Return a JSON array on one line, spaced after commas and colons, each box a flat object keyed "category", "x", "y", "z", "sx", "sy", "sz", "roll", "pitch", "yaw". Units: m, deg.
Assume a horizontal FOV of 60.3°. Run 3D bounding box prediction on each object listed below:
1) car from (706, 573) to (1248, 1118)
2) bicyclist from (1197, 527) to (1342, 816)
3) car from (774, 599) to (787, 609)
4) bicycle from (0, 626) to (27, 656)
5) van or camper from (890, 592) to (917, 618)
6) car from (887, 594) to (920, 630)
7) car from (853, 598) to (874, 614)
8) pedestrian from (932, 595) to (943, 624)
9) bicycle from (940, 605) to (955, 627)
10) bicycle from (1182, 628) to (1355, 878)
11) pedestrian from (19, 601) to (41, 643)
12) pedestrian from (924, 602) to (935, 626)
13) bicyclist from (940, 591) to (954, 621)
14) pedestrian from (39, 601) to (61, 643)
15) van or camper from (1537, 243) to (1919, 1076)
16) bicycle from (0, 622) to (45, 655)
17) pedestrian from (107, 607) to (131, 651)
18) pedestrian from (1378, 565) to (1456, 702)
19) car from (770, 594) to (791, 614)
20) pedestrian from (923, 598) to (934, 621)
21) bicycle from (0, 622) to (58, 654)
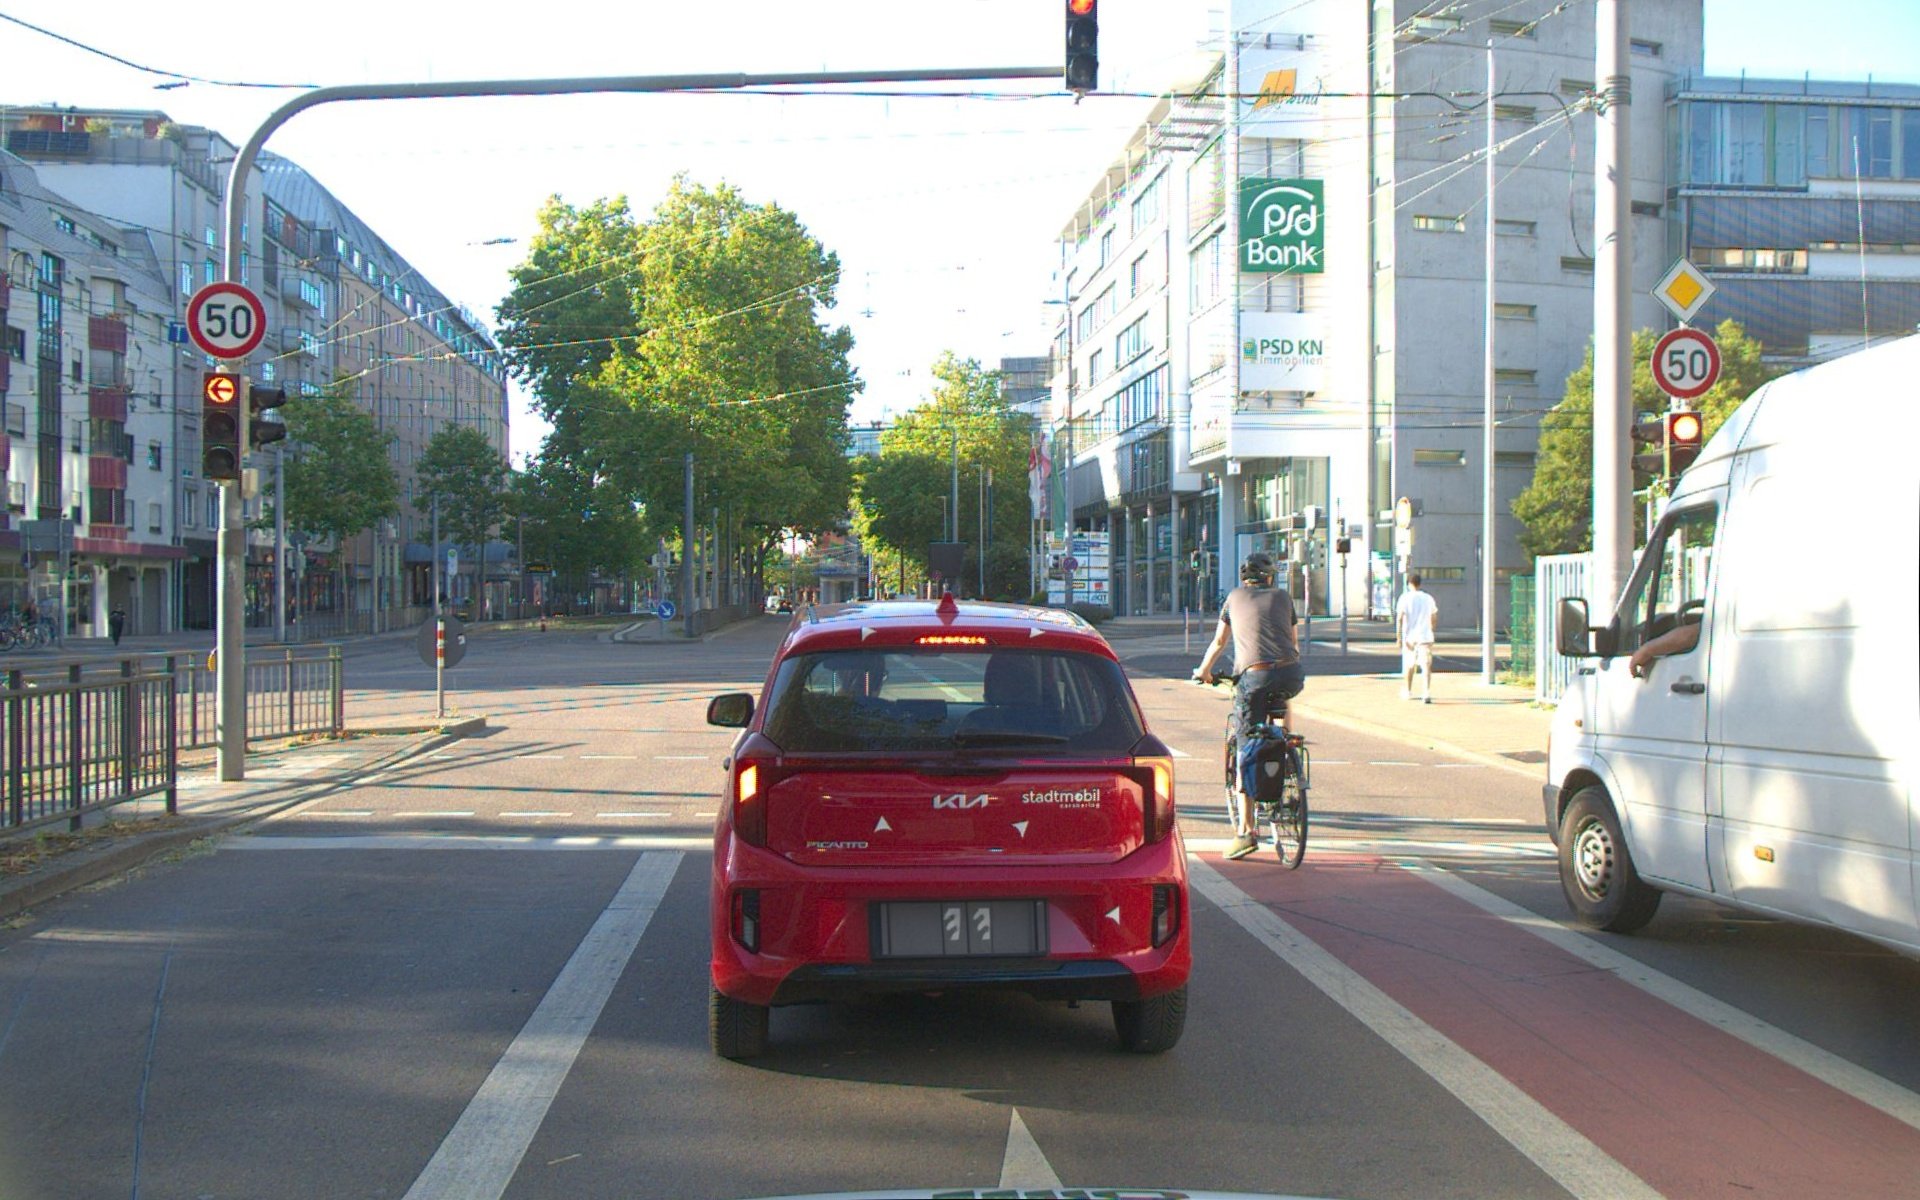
[{"category": "car", "x": -0.092, "y": 0.704, "z": 6.521, "sx": 1.582, "sy": 1.561, "sz": 3.408, "roll": 0, "pitch": 0, "yaw": -5}, {"category": "bicyclist", "x": 1.831, "y": 0.404, "z": 9.910, "sx": 0.637, "sy": 1.631, "sz": 1.088, "roll": 0, "pitch": 0, "yaw": -1}, {"category": "car", "x": -27.784, "y": 0.655, "z": 255.400, "sx": 1.745, "sy": 1.561, "sz": 3.403, "roll": 0, "pitch": 0, "yaw": -10}, {"category": "bicycle", "x": -29.449, "y": 1.250, "z": 50.281, "sx": 1.806, "sy": 0.869, "sz": 0.553, "roll": 0, "pitch": 0, "yaw": -4}, {"category": "van or camper", "x": -4.542, "y": 0.430, "z": 132.218, "sx": 1.954, "sy": 2.024, "sz": 4.740, "roll": 0, "pitch": 0, "yaw": -4}, {"category": "car", "x": -2.971, "y": 0.631, "z": 86.439, "sx": 1.603, "sy": 1.831, "sz": 3.327, "roll": -1, "pitch": 0, "yaw": -3}, {"category": "car", "x": -9.791, "y": 0.631, "z": 167.949, "sx": 1.745, "sy": 1.561, "sz": 3.504, "roll": 0, "pitch": 0, "yaw": -10}, {"category": "pedestrian", "x": -1.325, "y": 0.544, "z": 97.428, "sx": 0.633, "sy": 1.710, "sz": 0.651, "roll": 0, "pitch": 0, "yaw": 0}, {"category": "bicycle", "x": -0.711, "y": 0.883, "z": 93.000, "sx": 0.682, "sy": 1.117, "sz": 1.750, "roll": -4, "pitch": 1, "yaw": -2}, {"category": "bicycle", "x": 1.802, "y": 0.845, "z": 9.932, "sx": 0.637, "sy": 1.303, "sz": 1.965, "roll": 0, "pitch": 0, "yaw": -1}, {"category": "pedestrian", "x": -33.915, "y": 0.794, "z": 60.329, "sx": 0.524, "sy": 1.520, "sz": 0.586, "roll": 0, "pitch": 0, "yaw": -9}, {"category": "pedestrian", "x": -2.123, "y": 0.963, "z": 115.831, "sx": 0.629, "sy": 1.607, "sz": 0.723, "roll": -4, "pitch": 0, "yaw": -5}, {"category": "bicyclist", "x": -0.743, "y": 0.340, "z": 93.034, "sx": 0.707, "sy": 1.631, "sz": 1.088, "roll": -3, "pitch": 0, "yaw": -2}, {"category": "pedestrian", "x": -33.257, "y": 0.805, "z": 60.429, "sx": 0.524, "sy": 1.520, "sz": 0.586, "roll": 0, "pitch": 0, "yaw": -9}, {"category": "van or camper", "x": 4.157, "y": 0.203, "z": 5.460, "sx": 1.930, "sy": 2.763, "sz": 6.300, "roll": 1, "pitch": 0, "yaw": -4}, {"category": "bicycle", "x": -29.599, "y": 1.209, "z": 51.545, "sx": 1.808, "sy": 1.002, "sz": 0.552, "roll": 0, "pitch": 0, "yaw": -8}, {"category": "pedestrian", "x": -30.711, "y": 1.050, "z": 60.420, "sx": 0.683, "sy": 1.571, "sz": 1.042, "roll": 0, "pitch": 0, "yaw": -22}, {"category": "pedestrian", "x": 6.397, "y": 0.454, "z": 23.207, "sx": 0.761, "sy": 1.855, "sz": 1.216, "roll": 0, "pitch": 0, "yaw": 1}, {"category": "car", "x": -19.028, "y": 0.434, "z": 175.214, "sx": 1.956, "sy": 2.049, "sz": 3.992, "roll": 0, "pitch": 0, "yaw": -8}, {"category": "pedestrian", "x": -2.424, "y": 0.723, "z": 127.884, "sx": 0.873, "sy": 1.783, "sz": 0.841, "roll": 0, "pitch": 0, "yaw": -1}, {"category": "bicycle", "x": -29.541, "y": 1.195, "z": 52.161, "sx": 1.808, "sy": 1.002, "sz": 0.552, "roll": 0, "pitch": 0, "yaw": -8}]
